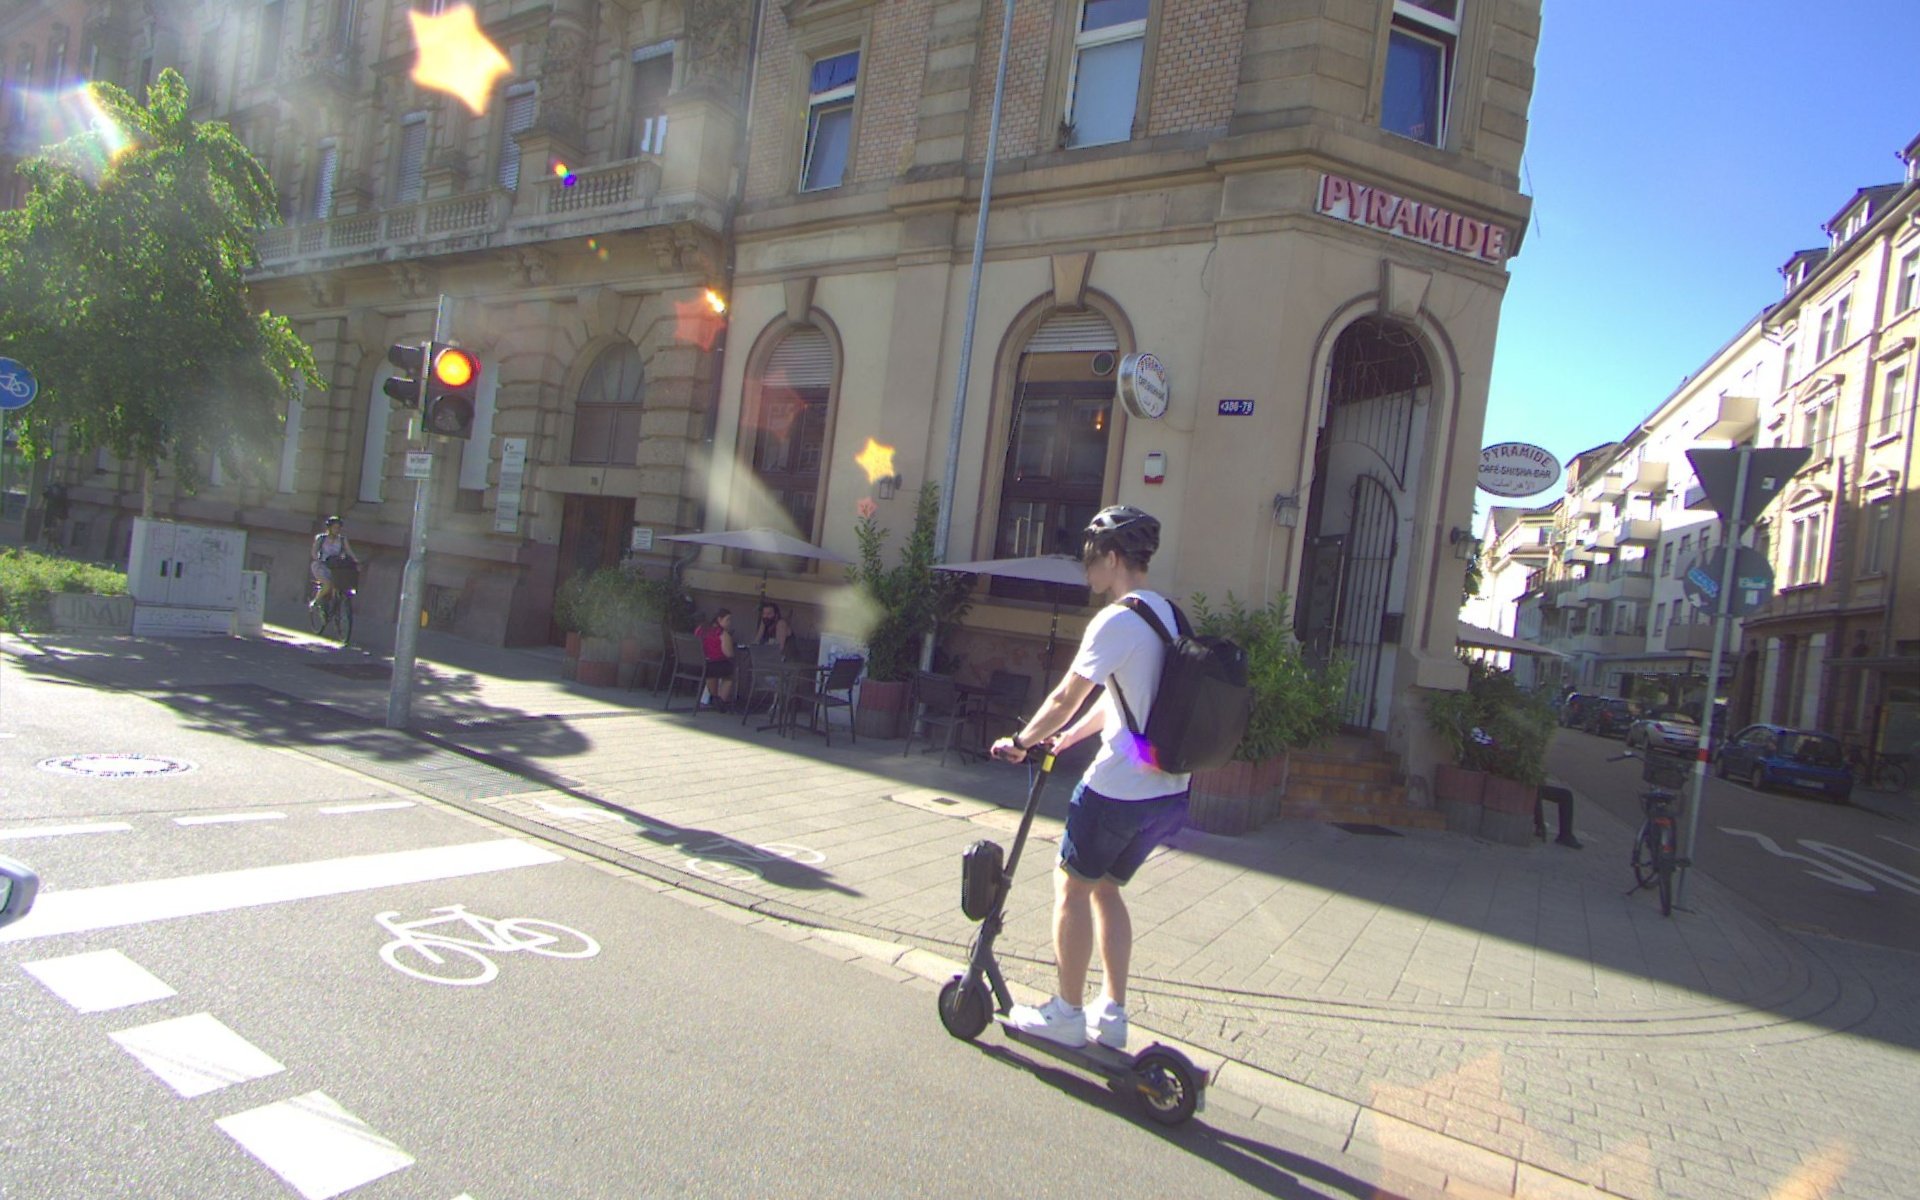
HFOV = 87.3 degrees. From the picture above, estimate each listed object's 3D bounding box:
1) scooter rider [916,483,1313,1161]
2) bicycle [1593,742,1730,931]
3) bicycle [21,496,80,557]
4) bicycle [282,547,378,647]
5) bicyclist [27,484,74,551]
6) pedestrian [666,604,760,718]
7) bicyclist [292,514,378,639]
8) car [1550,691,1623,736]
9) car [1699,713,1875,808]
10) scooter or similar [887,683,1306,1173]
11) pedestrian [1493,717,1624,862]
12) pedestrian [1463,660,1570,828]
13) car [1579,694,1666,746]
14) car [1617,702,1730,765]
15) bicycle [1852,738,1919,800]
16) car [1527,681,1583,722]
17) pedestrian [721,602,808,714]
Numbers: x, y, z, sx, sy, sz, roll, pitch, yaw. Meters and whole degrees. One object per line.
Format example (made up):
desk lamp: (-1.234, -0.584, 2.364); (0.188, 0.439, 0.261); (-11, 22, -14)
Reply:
scooter rider: (0.529, 0.630, 3.347); (0.886, 1.882, 0.668); (7, -1, 31)
bicycle: (5.702, 1.841, 8.200); (0.643, 1.186, 1.818); (11, 2, 35)
bicycle: (-22.484, -1.812, 24.865); (1.869, 1.349, 0.615); (7, 4, 33)
bicycle: (-9.084, -0.063, 14.480); (1.874, 1.238, 0.582); (7, 0, 42)
bicyclist: (-22.419, -2.040, 24.806); (0.788, 1.552, 0.660); (7, 5, 33)
pedestrian: (-2.813, 0.683, 11.492); (0.624, 1.193, 0.706); (7, 2, 31)
bicyclist: (-8.935, -0.336, 14.375); (0.947, 1.659, 0.665); (7, 1, 42)
car: (25.856, 4.649, 41.650); (1.769, 1.449, 3.773); (7, -1, 22)
car: (18.526, 3.535, 22.775); (1.769, 1.437, 4.000); (9, 0, 22)
scooter or similar: (0.445, 0.989, 3.394); (1.151, 1.240, 0.492); (7, -2, 31)
pedestrian: (6.025, 1.878, 10.184); (0.917, 1.228, 0.852); (7, -1, 25)
pedestrian: (6.559, 1.668, 11.915); (0.852, 1.781, 0.909); (7, -1, 25)
car: (24.075, 4.310, 36.705); (1.769, 1.449, 3.773); (7, -1, 22)
car: (21.804, 4.028, 30.926); (1.769, 1.350, 4.000); (9, 0, 22)
bicycle: (22.137, 3.994, 23.538); (0.621, 1.192, 2.014); (7, 0, 1)
car: (30.121, 5.105, 51.009); (1.769, 1.685, 3.772); (7, -1, 23)
pedestrian: (-2.371, 0.699, 12.227); (0.624, 1.252, 0.706); (7, 2, 31)
